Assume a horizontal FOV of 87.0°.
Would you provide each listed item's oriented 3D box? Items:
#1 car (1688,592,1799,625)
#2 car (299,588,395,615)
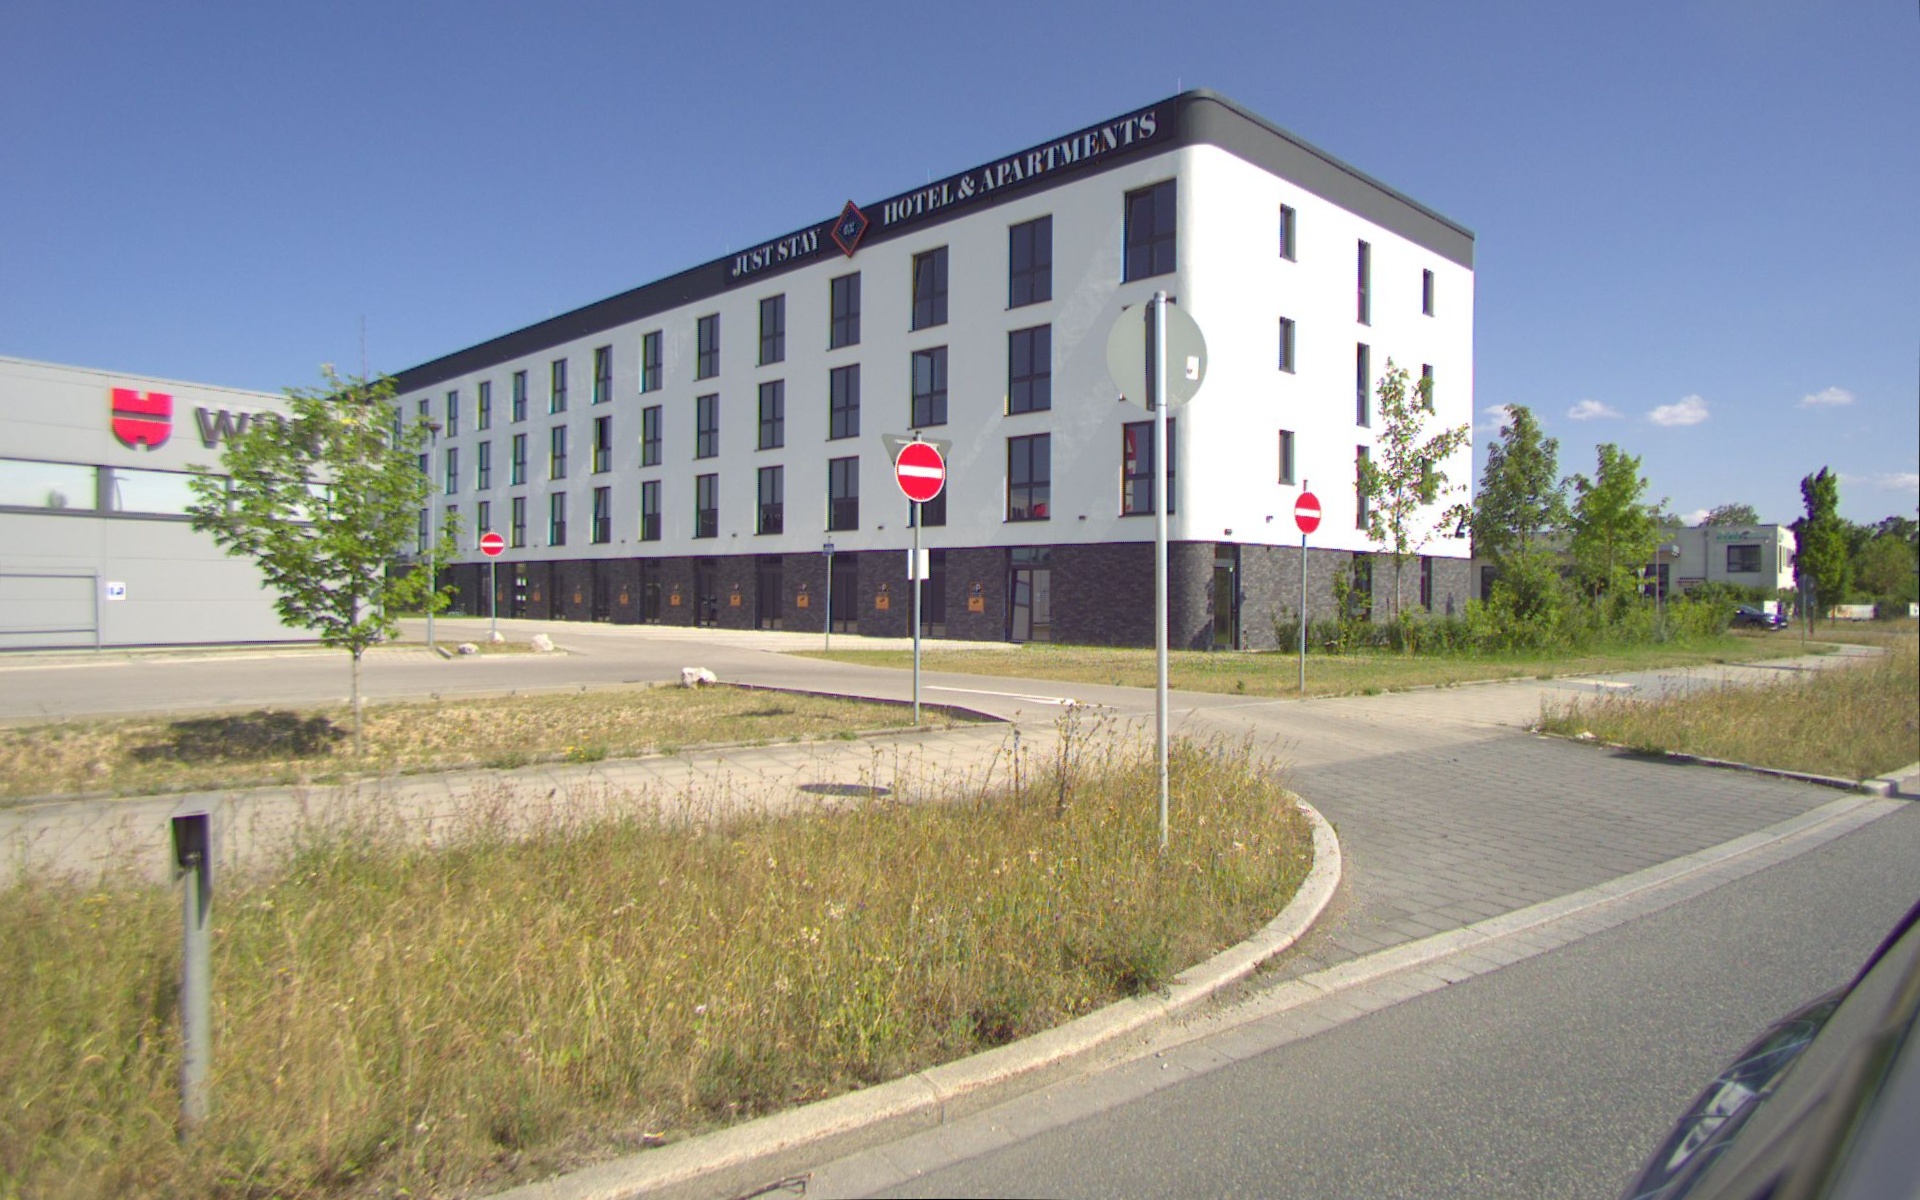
[{"bbox_3d":[41.144,0.415,53.270,1.804,1.593,4.407,-1,1,-15],"label":"car"},{"bbox_3d":[-35.599,0.082,58.886,4.430,1.527,1.883,0,1,-13],"label":"car"}]
